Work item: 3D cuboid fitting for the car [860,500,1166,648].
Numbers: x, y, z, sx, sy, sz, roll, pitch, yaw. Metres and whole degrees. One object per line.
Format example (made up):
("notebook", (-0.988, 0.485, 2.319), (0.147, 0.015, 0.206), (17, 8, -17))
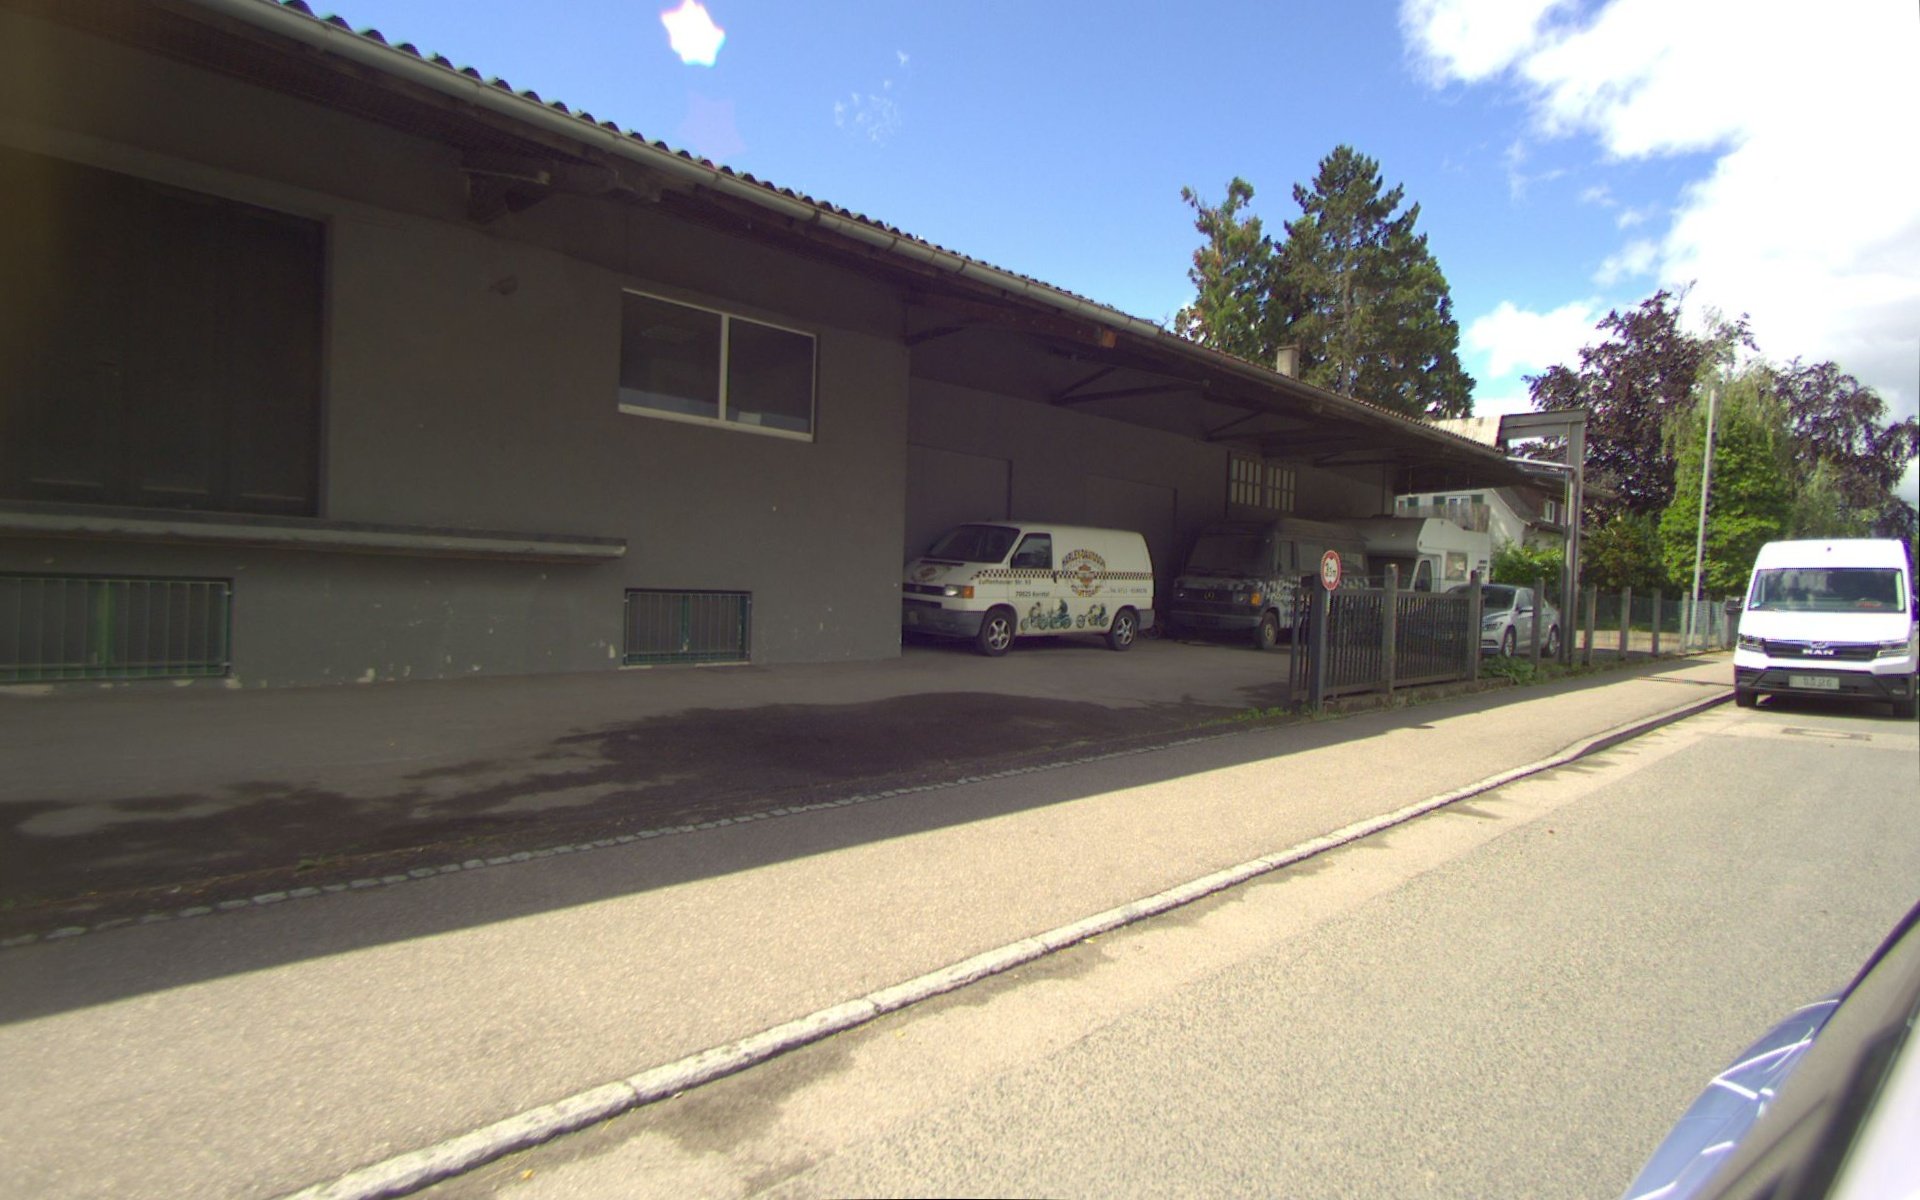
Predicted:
("car", (0.958, -0.337, 15.637), (4.773, 1.934, 1.995), (1, 1, -45))

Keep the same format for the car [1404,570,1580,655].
("car", (10.894, 0.245, 20.543), (4.845, 1.508, 1.766), (1, 1, -45))

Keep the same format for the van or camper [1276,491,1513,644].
("van or camper", (10.480, -0.704, 24.011), (2.882, 3.099, 6.803), (3, 2, 44))

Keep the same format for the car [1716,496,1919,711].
("car", (13.773, 0.003, 15.826), (2.216, 2.722, 6.551), (3, 2, 44))

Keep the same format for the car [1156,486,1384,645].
("car", (6.255, -0.564, 19.981), (2.018, 2.715, 5.409), (2, 0, 44))

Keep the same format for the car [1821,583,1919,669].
("car", (22.610, 0.577, 24.838), (1.905, 1.909, 5.303), (0, 0, 44))

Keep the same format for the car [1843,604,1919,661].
("car", (26.425, 0.861, 28.660), (4.911, 1.469, 1.756), (0, -1, -44))

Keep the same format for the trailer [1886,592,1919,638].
("trailer", (40.822, 0.619, 42.971), (4.686, 1.846, 1.995), (0, 0, -45))
